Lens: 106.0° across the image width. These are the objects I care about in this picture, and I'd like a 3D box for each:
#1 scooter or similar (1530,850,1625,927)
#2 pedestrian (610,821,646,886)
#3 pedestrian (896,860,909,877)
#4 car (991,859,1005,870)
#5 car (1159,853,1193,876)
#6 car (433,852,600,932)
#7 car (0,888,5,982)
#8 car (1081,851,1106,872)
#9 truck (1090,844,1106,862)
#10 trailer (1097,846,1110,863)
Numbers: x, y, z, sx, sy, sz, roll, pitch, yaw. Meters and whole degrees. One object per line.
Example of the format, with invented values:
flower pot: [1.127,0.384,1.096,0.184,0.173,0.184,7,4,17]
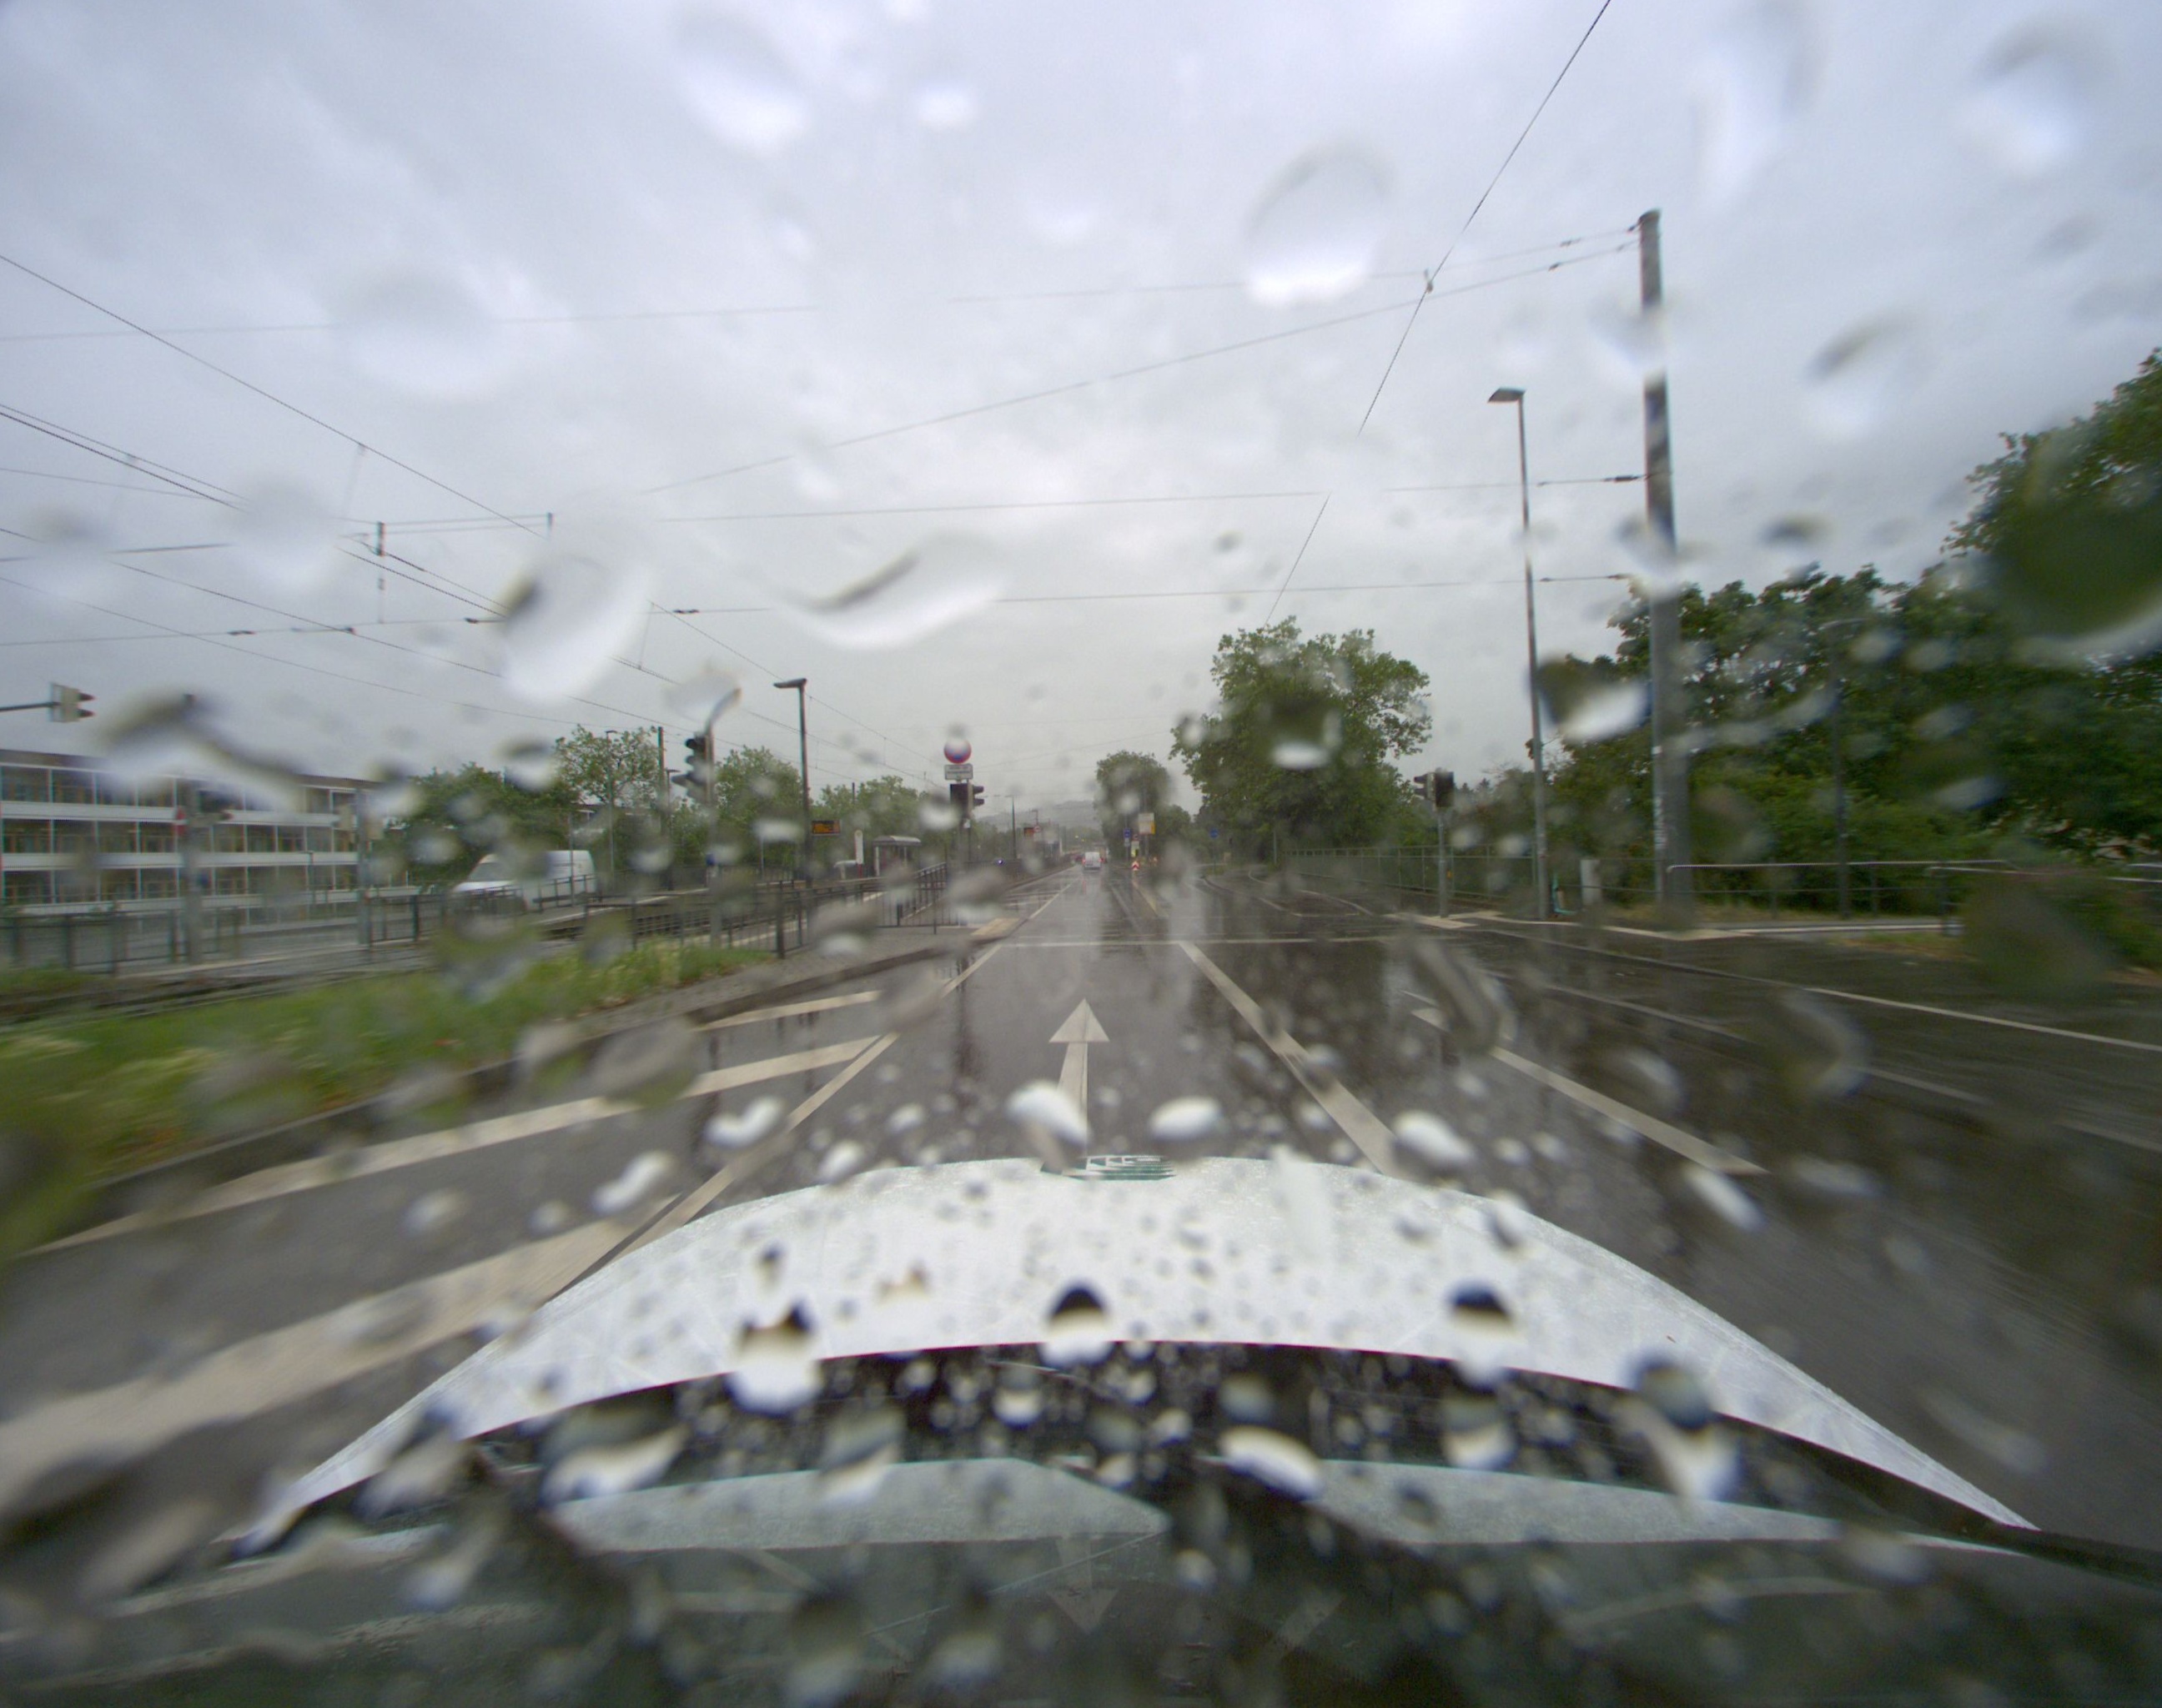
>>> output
scooter or similar: [8.881,0.591,14.643,0.756,1.293,1.649,-1,-1,4]
pedestrian: [-28.451,-0.003,51.177,1.157,4.029,1.529,-2,-1,29]
pedestrian: [-14.117,1.143,64.308,0.828,1.316,0.858,0,0,1]
car: [-14.994,1.891,146.993,1.986,2.014,4.002,-1,-1,2]
car: [6.493,0.669,55.292,1.875,1.431,4.013,-1,0,12]
car: [-20.969,1.297,30.692,2.112,2.712,5.740,-1,0,2]
car: [-20.734,1.499,12.582,1.986,1.707,4.627,-1,0,2]
car: [1.176,0.673,73.893,1.984,1.849,4.005,-1,0,4]
truck: [3.493,-0.110,171.196,2.769,3.704,9.842,-1,-1,-2]
trailer: [3.883,0.072,139.963,2.157,2.757,5.681,-1,-1,3]
